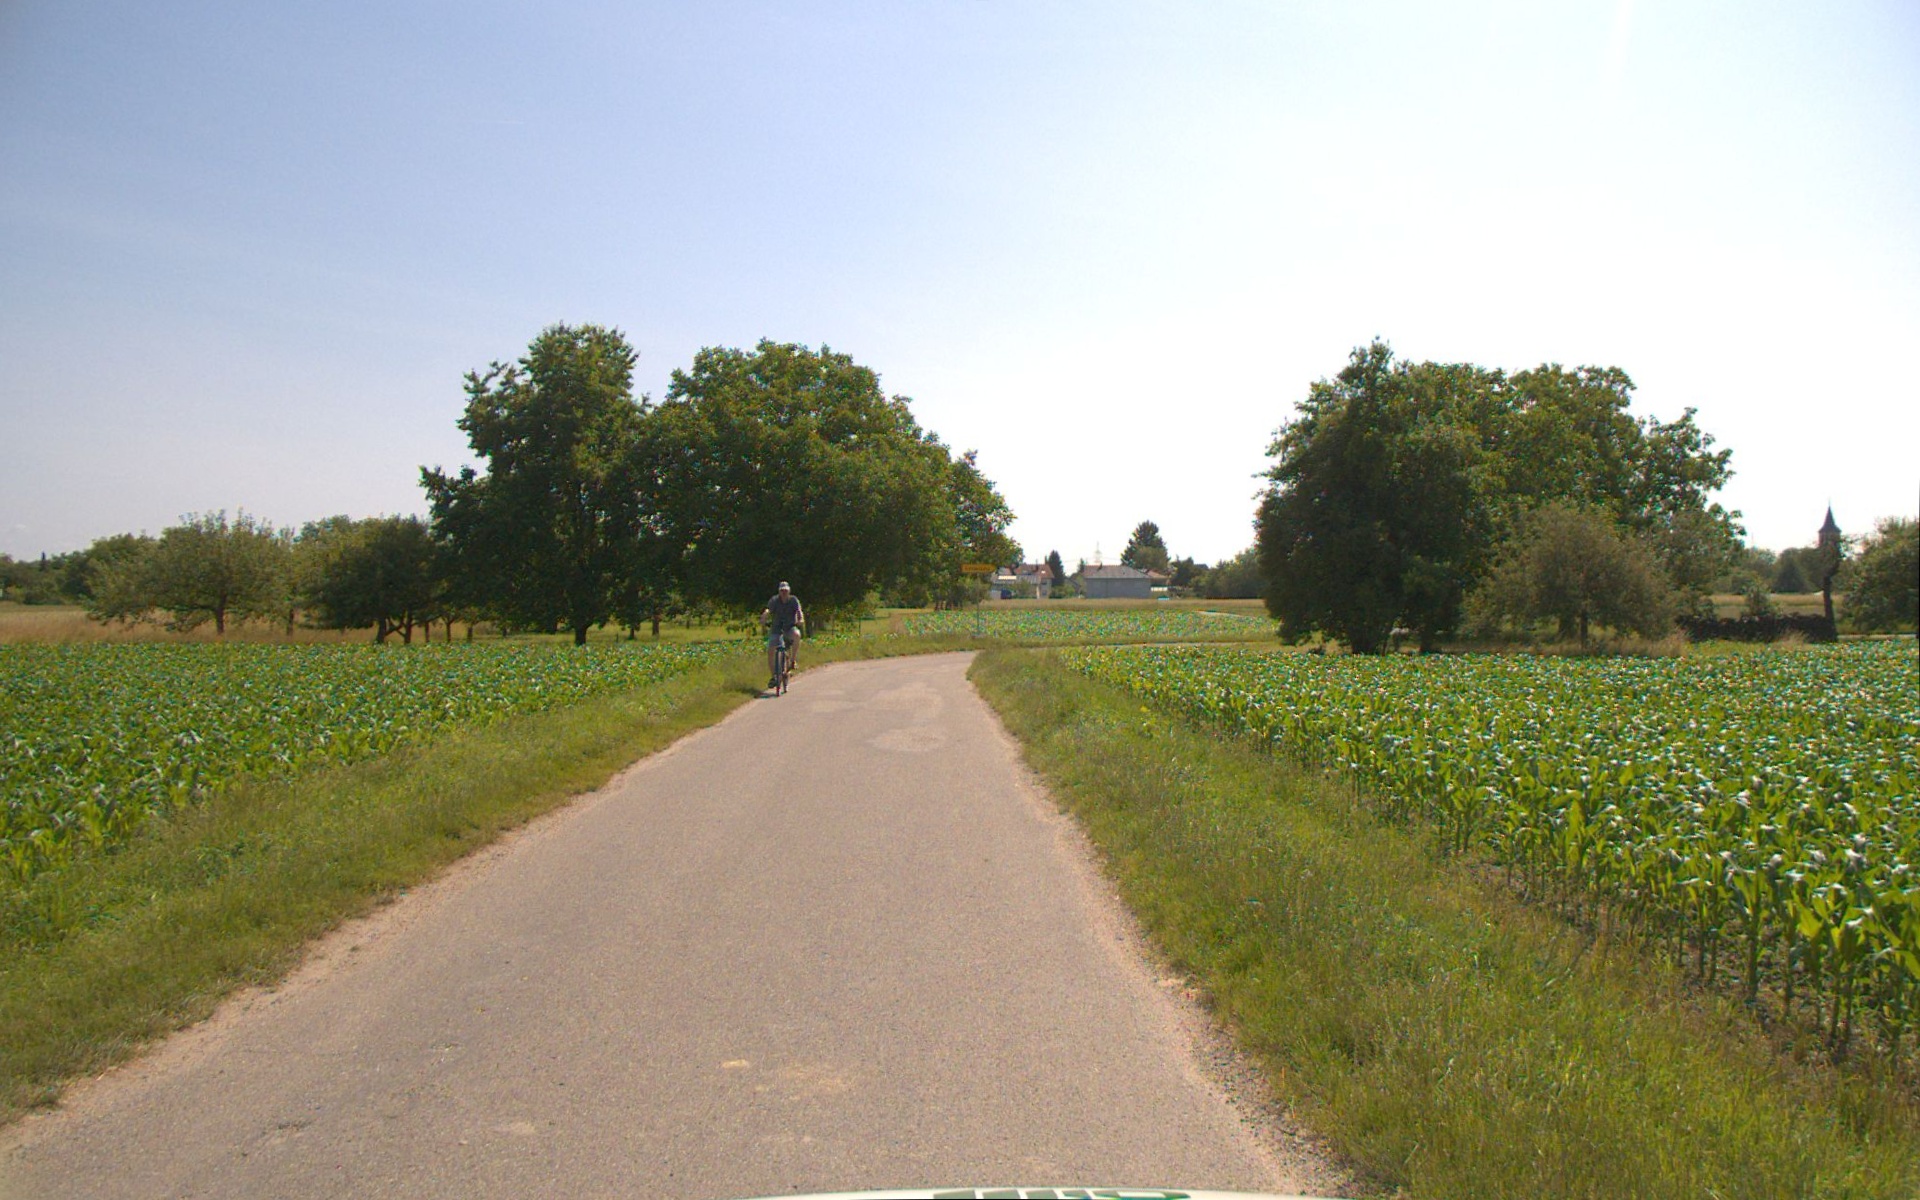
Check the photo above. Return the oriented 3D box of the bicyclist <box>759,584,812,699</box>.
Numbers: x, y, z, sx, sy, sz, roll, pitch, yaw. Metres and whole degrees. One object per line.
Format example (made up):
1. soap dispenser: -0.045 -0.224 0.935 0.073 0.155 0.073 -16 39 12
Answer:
1. bicyclist: -2.852 0.669 27.079 0.735 1.822 0.717 -2 0 0

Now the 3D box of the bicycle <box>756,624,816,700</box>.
1. bicycle: -2.845 0.999 27.128 0.735 1.147 1.908 -2 0 0
